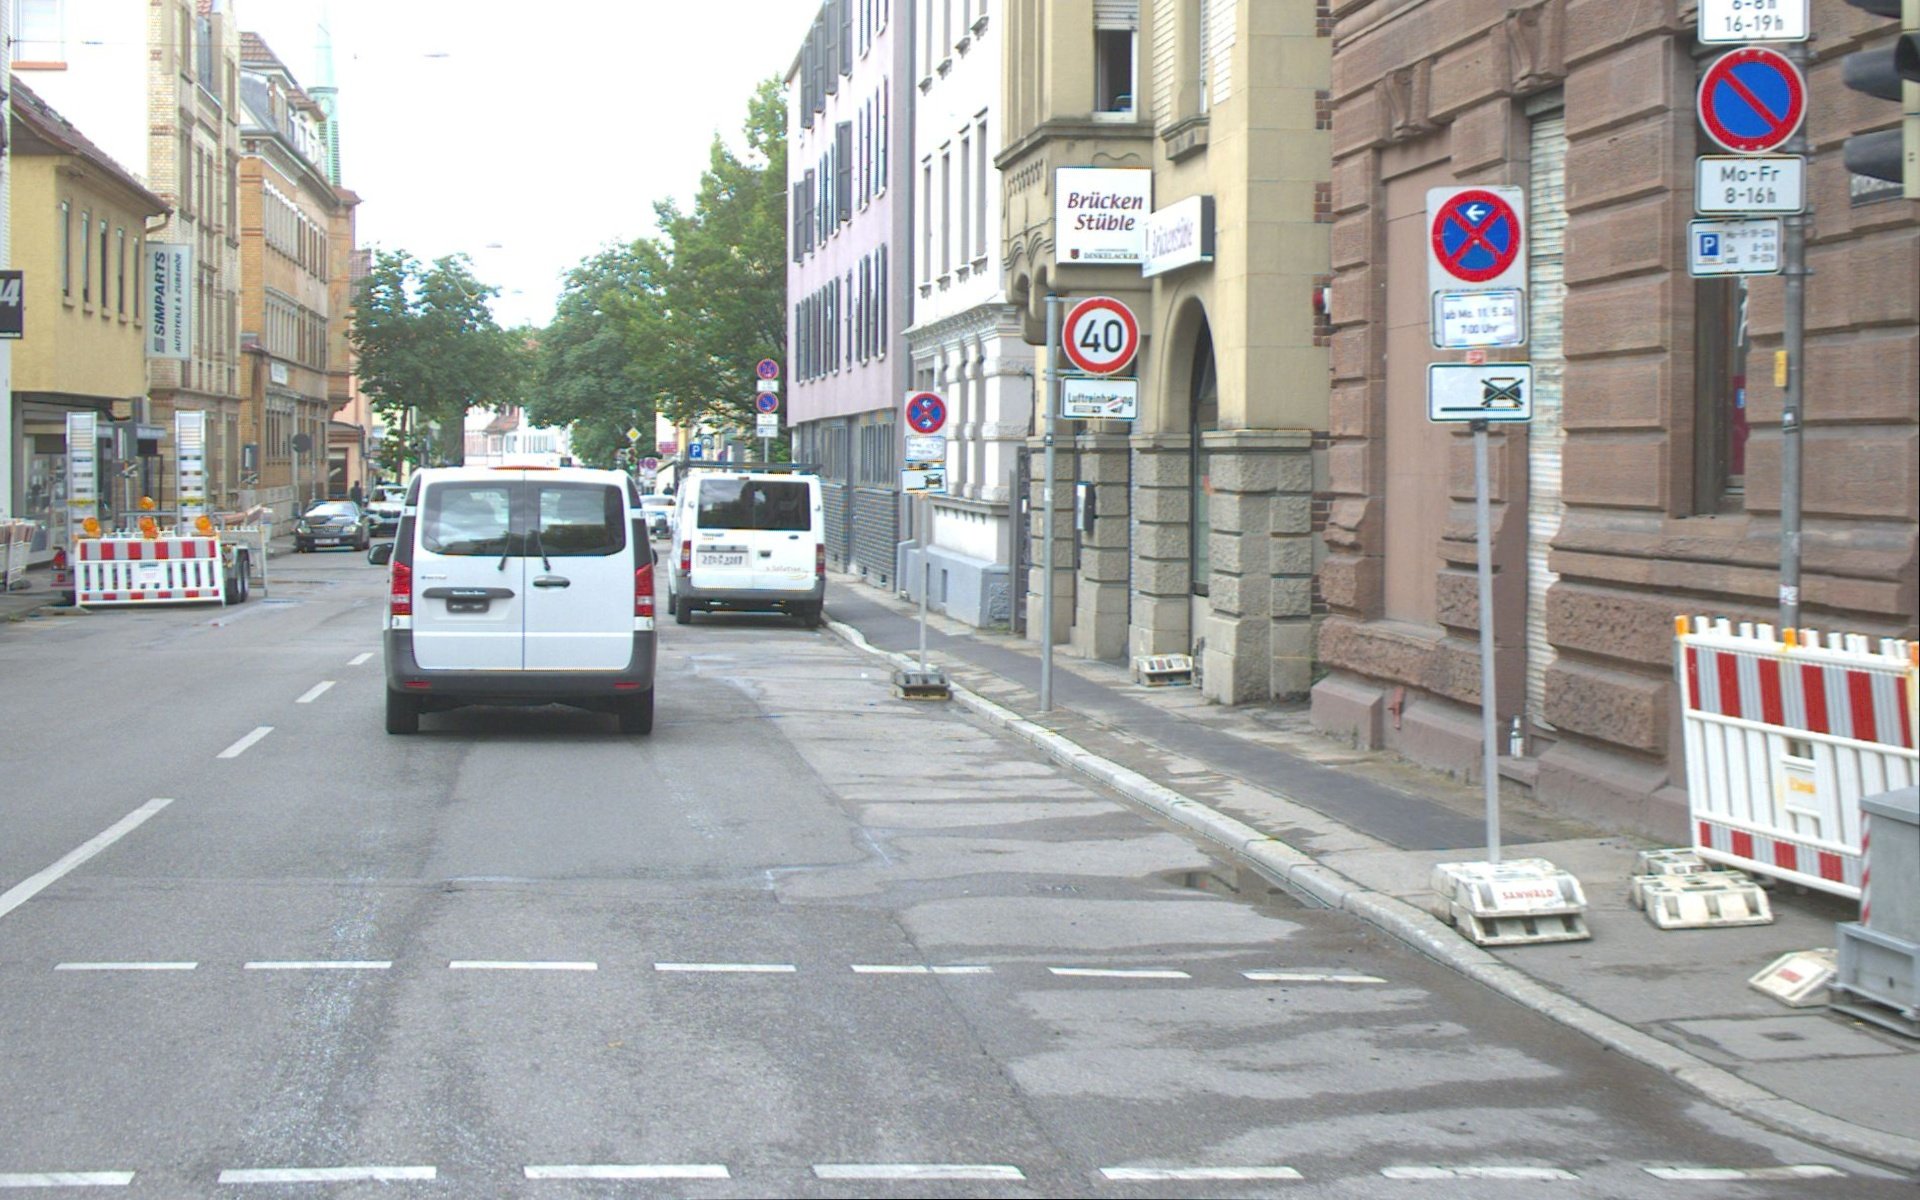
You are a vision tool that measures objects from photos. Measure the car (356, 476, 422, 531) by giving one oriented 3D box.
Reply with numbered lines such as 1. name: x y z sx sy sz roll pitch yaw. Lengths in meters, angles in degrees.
1. car: -19.338 -3.298 116.519 1.993 1.735 4.001 3 2 -7

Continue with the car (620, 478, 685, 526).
1. car: -10.521 -3.366 117.348 1.993 1.480 4.001 4 1 -7

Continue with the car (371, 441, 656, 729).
1. car: -3.337 -0.147 25.380 1.891 1.922 4.646 0 1 -9

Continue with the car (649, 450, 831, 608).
1. car: -3.075 -0.999 47.115 2.128 1.998 4.927 2 2 -7

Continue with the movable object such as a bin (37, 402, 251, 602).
1. movable object such as a bin: -12.160 -1.486 51.558 2.537 2.815 4.540 -2 2 -7

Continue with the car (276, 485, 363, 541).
1. car: -17.051 -2.329 91.683 1.993 1.437 4.001 -1 2 -7
